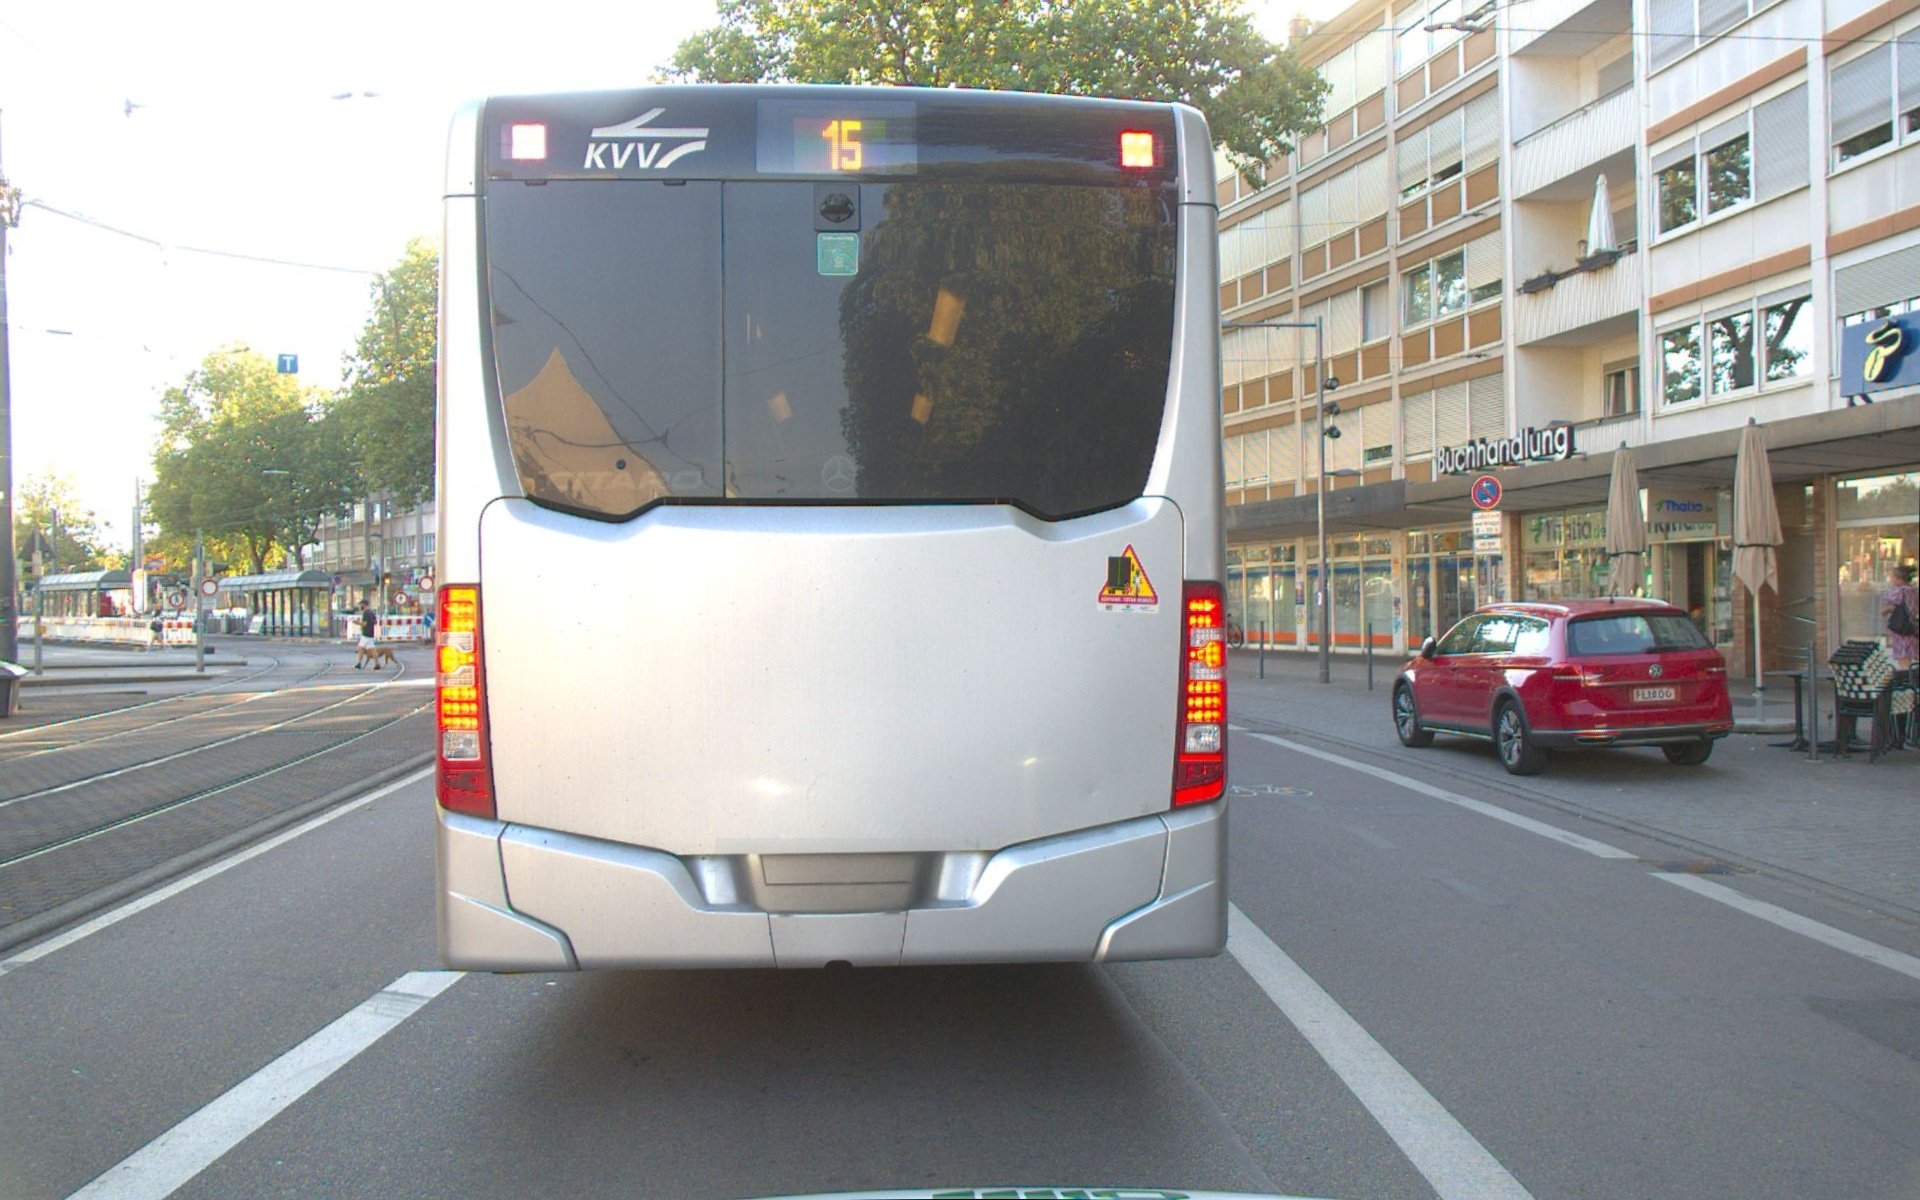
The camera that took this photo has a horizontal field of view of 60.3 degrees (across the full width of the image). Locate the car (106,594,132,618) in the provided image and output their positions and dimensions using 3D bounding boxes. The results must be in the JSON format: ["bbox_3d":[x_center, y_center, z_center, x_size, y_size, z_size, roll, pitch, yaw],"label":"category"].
[{"bbox_3d":[-72.355,0.526,142.326,1.604,2.049,3.075,-1,0,-34],"label":"car"}]

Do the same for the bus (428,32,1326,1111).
[{"bbox_3d":[-0.436,-0.065,9.783,2.578,3.081,9.992,0,0,-3],"label":"bus"}]

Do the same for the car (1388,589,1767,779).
[{"bbox_3d":[5.707,0.702,15.926,1.735,1.508,4.299,-2,0,-4],"label":"car"}]

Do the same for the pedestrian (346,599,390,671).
[{"bbox_3d":[-14.562,0.851,40.685,0.878,1.758,0.517,-1,0,1],"label":"pedestrian"}]

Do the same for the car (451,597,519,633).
[{"bbox_3d":[-25.261,0.795,87.859,1.982,1.823,3.940,1,-1,-41],"label":"car"}]

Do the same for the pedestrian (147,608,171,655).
[{"bbox_3d":[-28.822,1.140,59.534,0.653,1.685,0.436,-1,-1,-44],"label":"pedestrian"}]

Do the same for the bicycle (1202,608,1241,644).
[{"bbox_3d":[7.223,0.713,45.660,0.406,0.961,1.431,-1,0,-20],"label":"bicycle"}]

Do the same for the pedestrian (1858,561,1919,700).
[{"bbox_3d":[11.356,0.352,19.822,0.637,1.620,0.788,-3,0,-6],"label":"pedestrian"}]
